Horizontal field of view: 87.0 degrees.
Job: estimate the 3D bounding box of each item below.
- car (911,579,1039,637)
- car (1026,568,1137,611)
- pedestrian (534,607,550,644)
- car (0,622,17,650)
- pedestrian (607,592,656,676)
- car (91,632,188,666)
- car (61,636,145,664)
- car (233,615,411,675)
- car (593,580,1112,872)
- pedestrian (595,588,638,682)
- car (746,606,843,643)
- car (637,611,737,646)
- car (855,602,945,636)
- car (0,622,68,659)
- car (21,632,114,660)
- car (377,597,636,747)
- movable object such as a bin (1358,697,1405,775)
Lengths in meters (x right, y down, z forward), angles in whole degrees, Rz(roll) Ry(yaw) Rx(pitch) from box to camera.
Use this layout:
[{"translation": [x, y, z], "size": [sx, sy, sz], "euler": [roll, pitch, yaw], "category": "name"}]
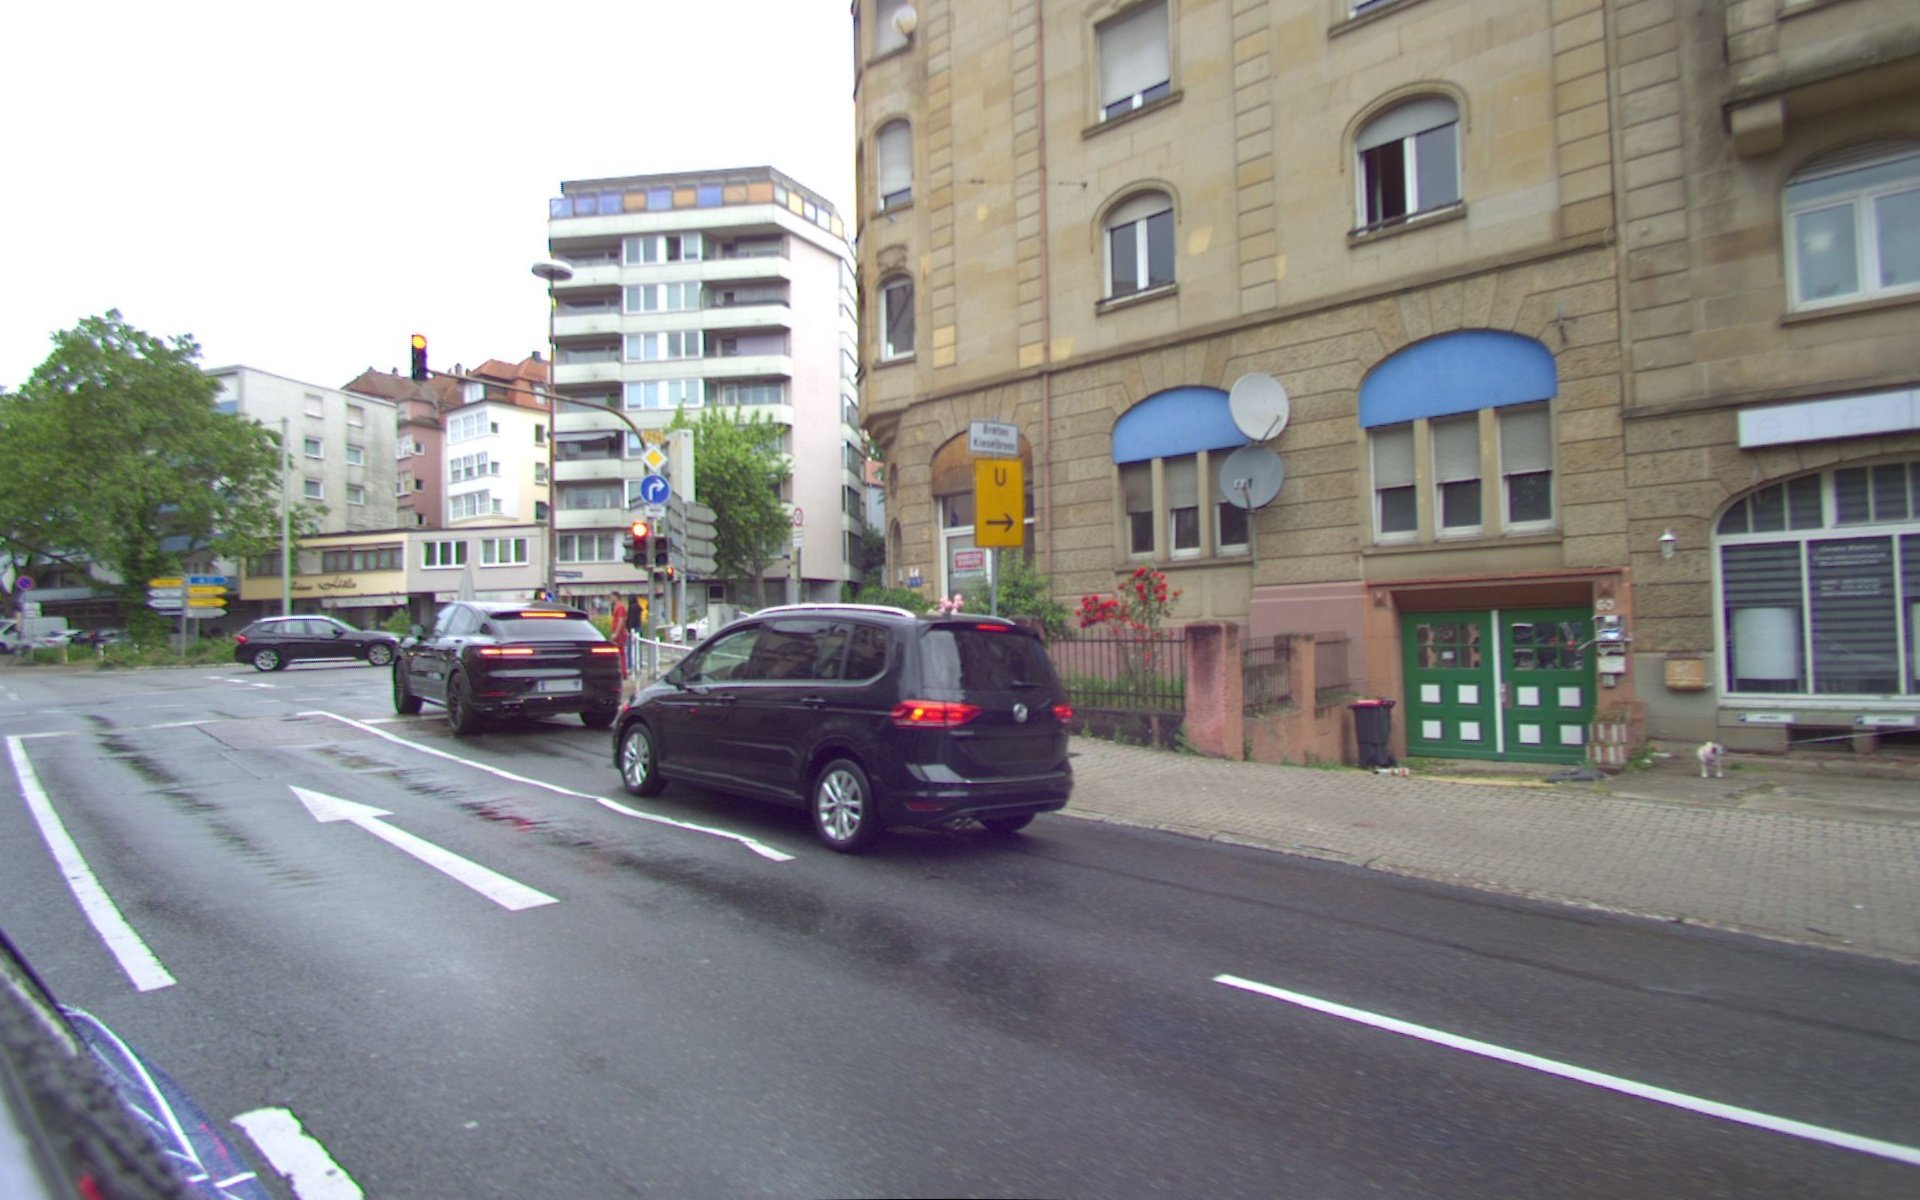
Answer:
[{"translation": [0.616, 0.290, 40.430], "size": [4.722, 2.185, 2.006], "euler": [-1, 0, -31], "category": "car"}, {"translation": [5.164, -0.432, 42.781], "size": [4.307, 1.717, 2.006], "euler": [-1, 0, -31], "category": "car"}, {"translation": [-19.790, 1.214, 47.951], "size": [0.609, 1.706, 0.627], "euler": [-1, 0, -15], "category": "pedestrian"}, {"translation": [-59.637, 2.180, 60.980], "size": [1.788, 1.702, 3.820], "euler": [0, -1, 13], "category": "car"}, {"translation": [-6.901, 0.710, 21.241], "size": [0.829, 1.715, 0.630], "euler": [-2, -1, 43], "category": "pedestrian"}, {"translation": [-45.271, 2.699, 55.963], "size": [1.915, 1.655, 4.214], "euler": [0, 0, 2], "category": "car"}, {"translation": [-47.811, 2.770, 56.552], "size": [1.609, 1.426, 3.620], "euler": [0, 0, 2], "category": "car"}, {"translation": [-18.430, 1.277, 29.445], "size": [4.142, 1.546, 1.763], "euler": [-1, -1, -24], "category": "car"}, {"translation": [-1.093, 0.815, 7.945], "size": [1.602, 1.662, 4.422], "euler": [6, -5, -44], "category": "car"}, {"translation": [-6.673, 0.670, 19.659], "size": [0.516, 1.787, 0.694], "euler": [-1, -1, -43], "category": "pedestrian"}, {"translation": [-7.542, 1.115, 46.126], "size": [3.954, 1.503, 1.772], "euler": [-1, -2, -28], "category": "car"}, {"translation": [-13.135, 1.364, 48.685], "size": [4.317, 1.503, 1.920], "euler": [-1, 0, -28], "category": "car"}, {"translation": [-2.899, 0.919, 49.039], "size": [3.954, 1.503, 1.772], "euler": [-1, -2, -28], "category": "car"}, {"translation": [-55.112, 2.342, 58.726], "size": [1.860, 1.992, 4.958], "euler": [0, 0, 11], "category": "car"}, {"translation": [-50.247, 2.583, 57.062], "size": [1.790, 1.426, 3.698], "euler": [0, 0, 6], "category": "car"}, {"translation": [-6.396, 0.821, 13.941], "size": [1.941, 1.706, 4.814], "euler": [1, 0, -41], "category": "car"}, {"translation": [5.646, 1.809, 13.545], "size": [0.469, 0.957, 0.418], "euler": [0, -1, -45], "category": "movable object such as a bin"}]
